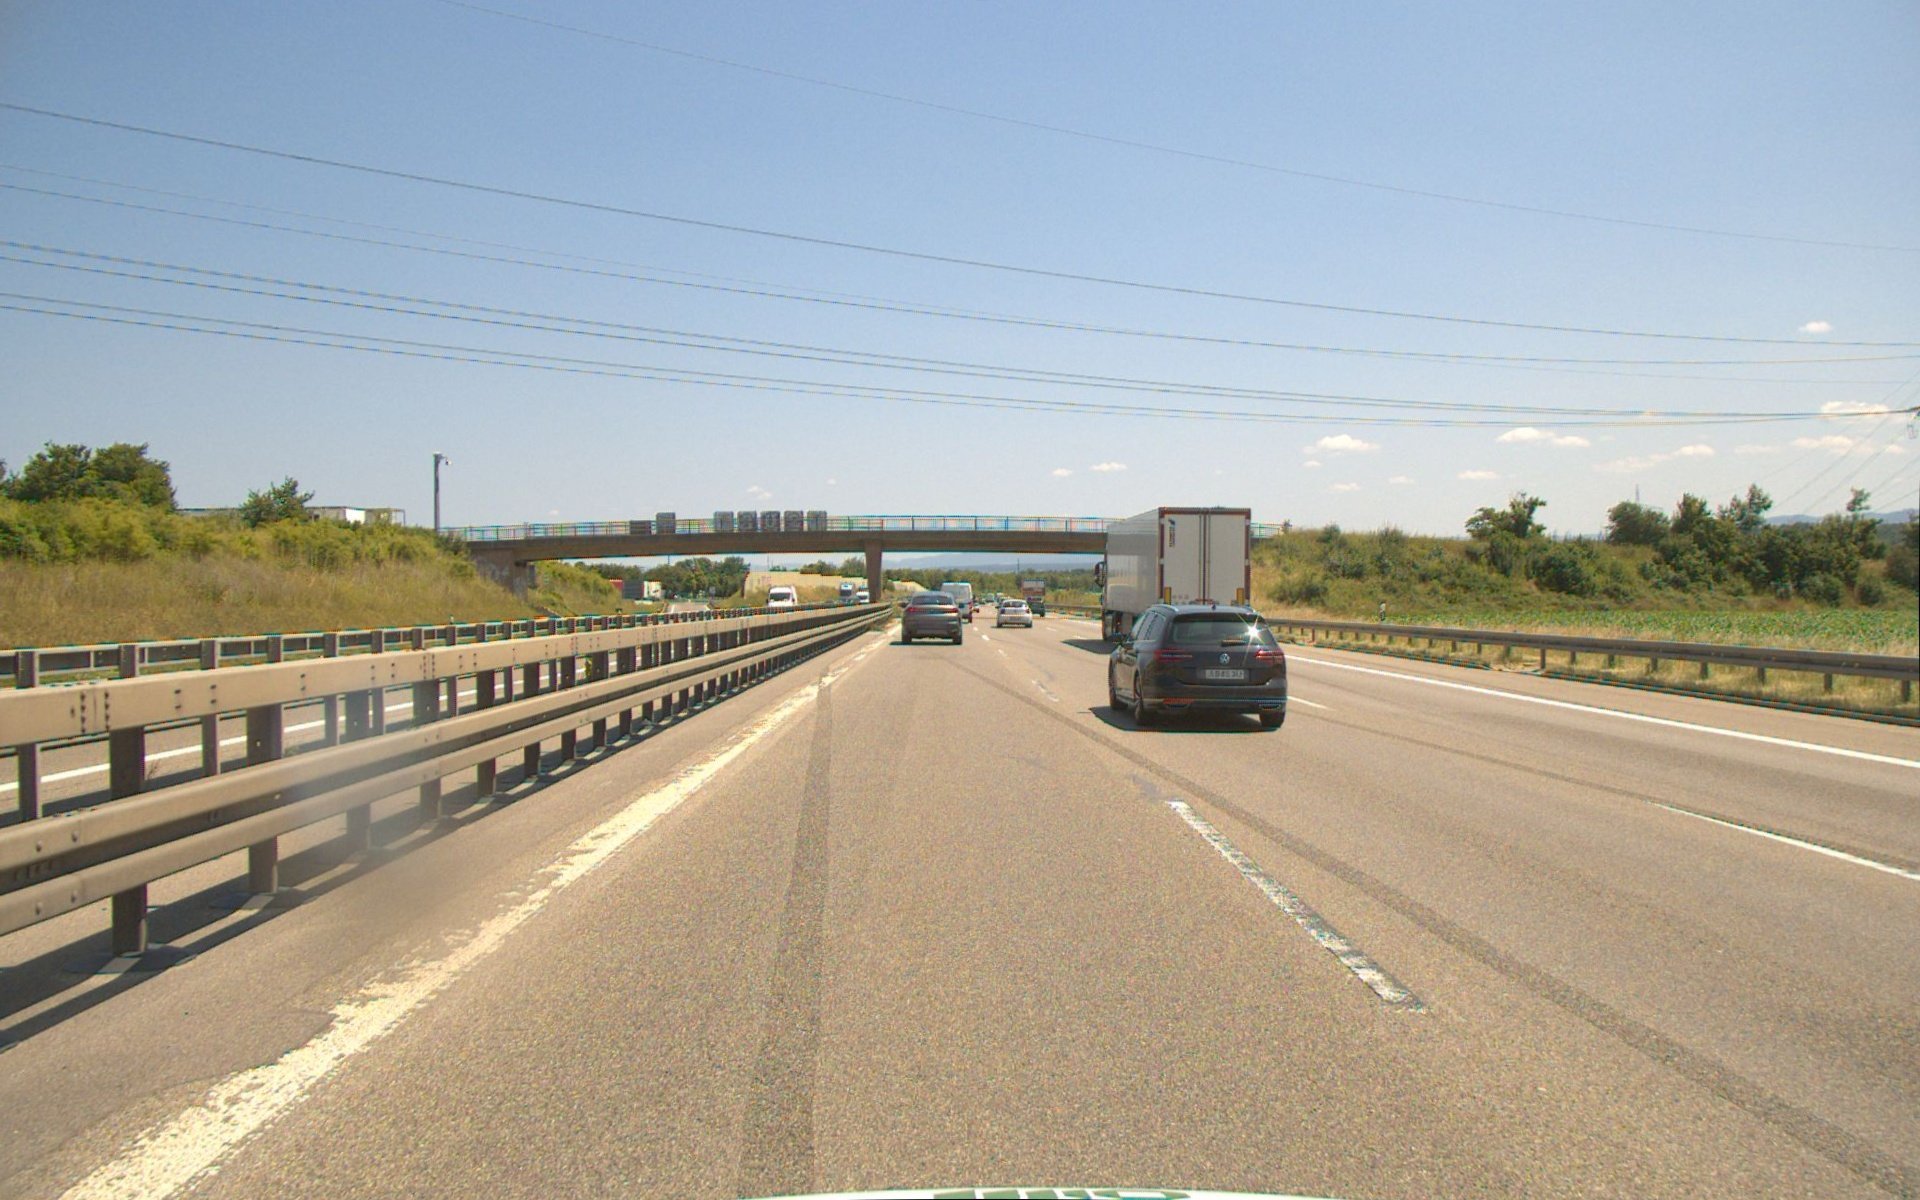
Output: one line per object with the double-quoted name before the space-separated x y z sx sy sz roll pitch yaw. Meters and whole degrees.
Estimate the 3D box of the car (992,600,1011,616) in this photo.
"car" 4.537 0.840 181.995 1.953 1.712 3.999 1 0 -1

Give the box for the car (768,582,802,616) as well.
"car" -14.081 -0.097 133.521 1.991 2.651 7.599 1 0 -1

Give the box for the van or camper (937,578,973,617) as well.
"van or camper" -0.308 -0.124 99.570 2.067 2.250 5.264 1 0 -1

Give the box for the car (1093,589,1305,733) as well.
"car" 2.904 0.697 21.162 1.894 1.602 4.933 1 0 -1

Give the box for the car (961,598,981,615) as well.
"car" 1.104 0.680 171.071 1.953 1.712 3.999 1 0 -1

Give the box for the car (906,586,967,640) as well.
"car" -0.799 0.414 53.755 1.814 1.693 3.732 1 0 -4

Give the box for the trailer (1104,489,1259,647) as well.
"trailer" 6.651 -0.863 51.950 2.883 4.271 13.594 1 0 -1

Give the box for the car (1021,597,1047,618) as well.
"car" 6.053 0.602 135.716 1.953 1.712 3.999 1 0 -1

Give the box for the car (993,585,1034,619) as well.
"car" 2.724 0.103 85.113 1.953 1.712 3.999 1 0 -1

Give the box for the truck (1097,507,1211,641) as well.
"truck" 6.601 -0.844 57.360 2.918 4.301 7.686 1 0 -1
